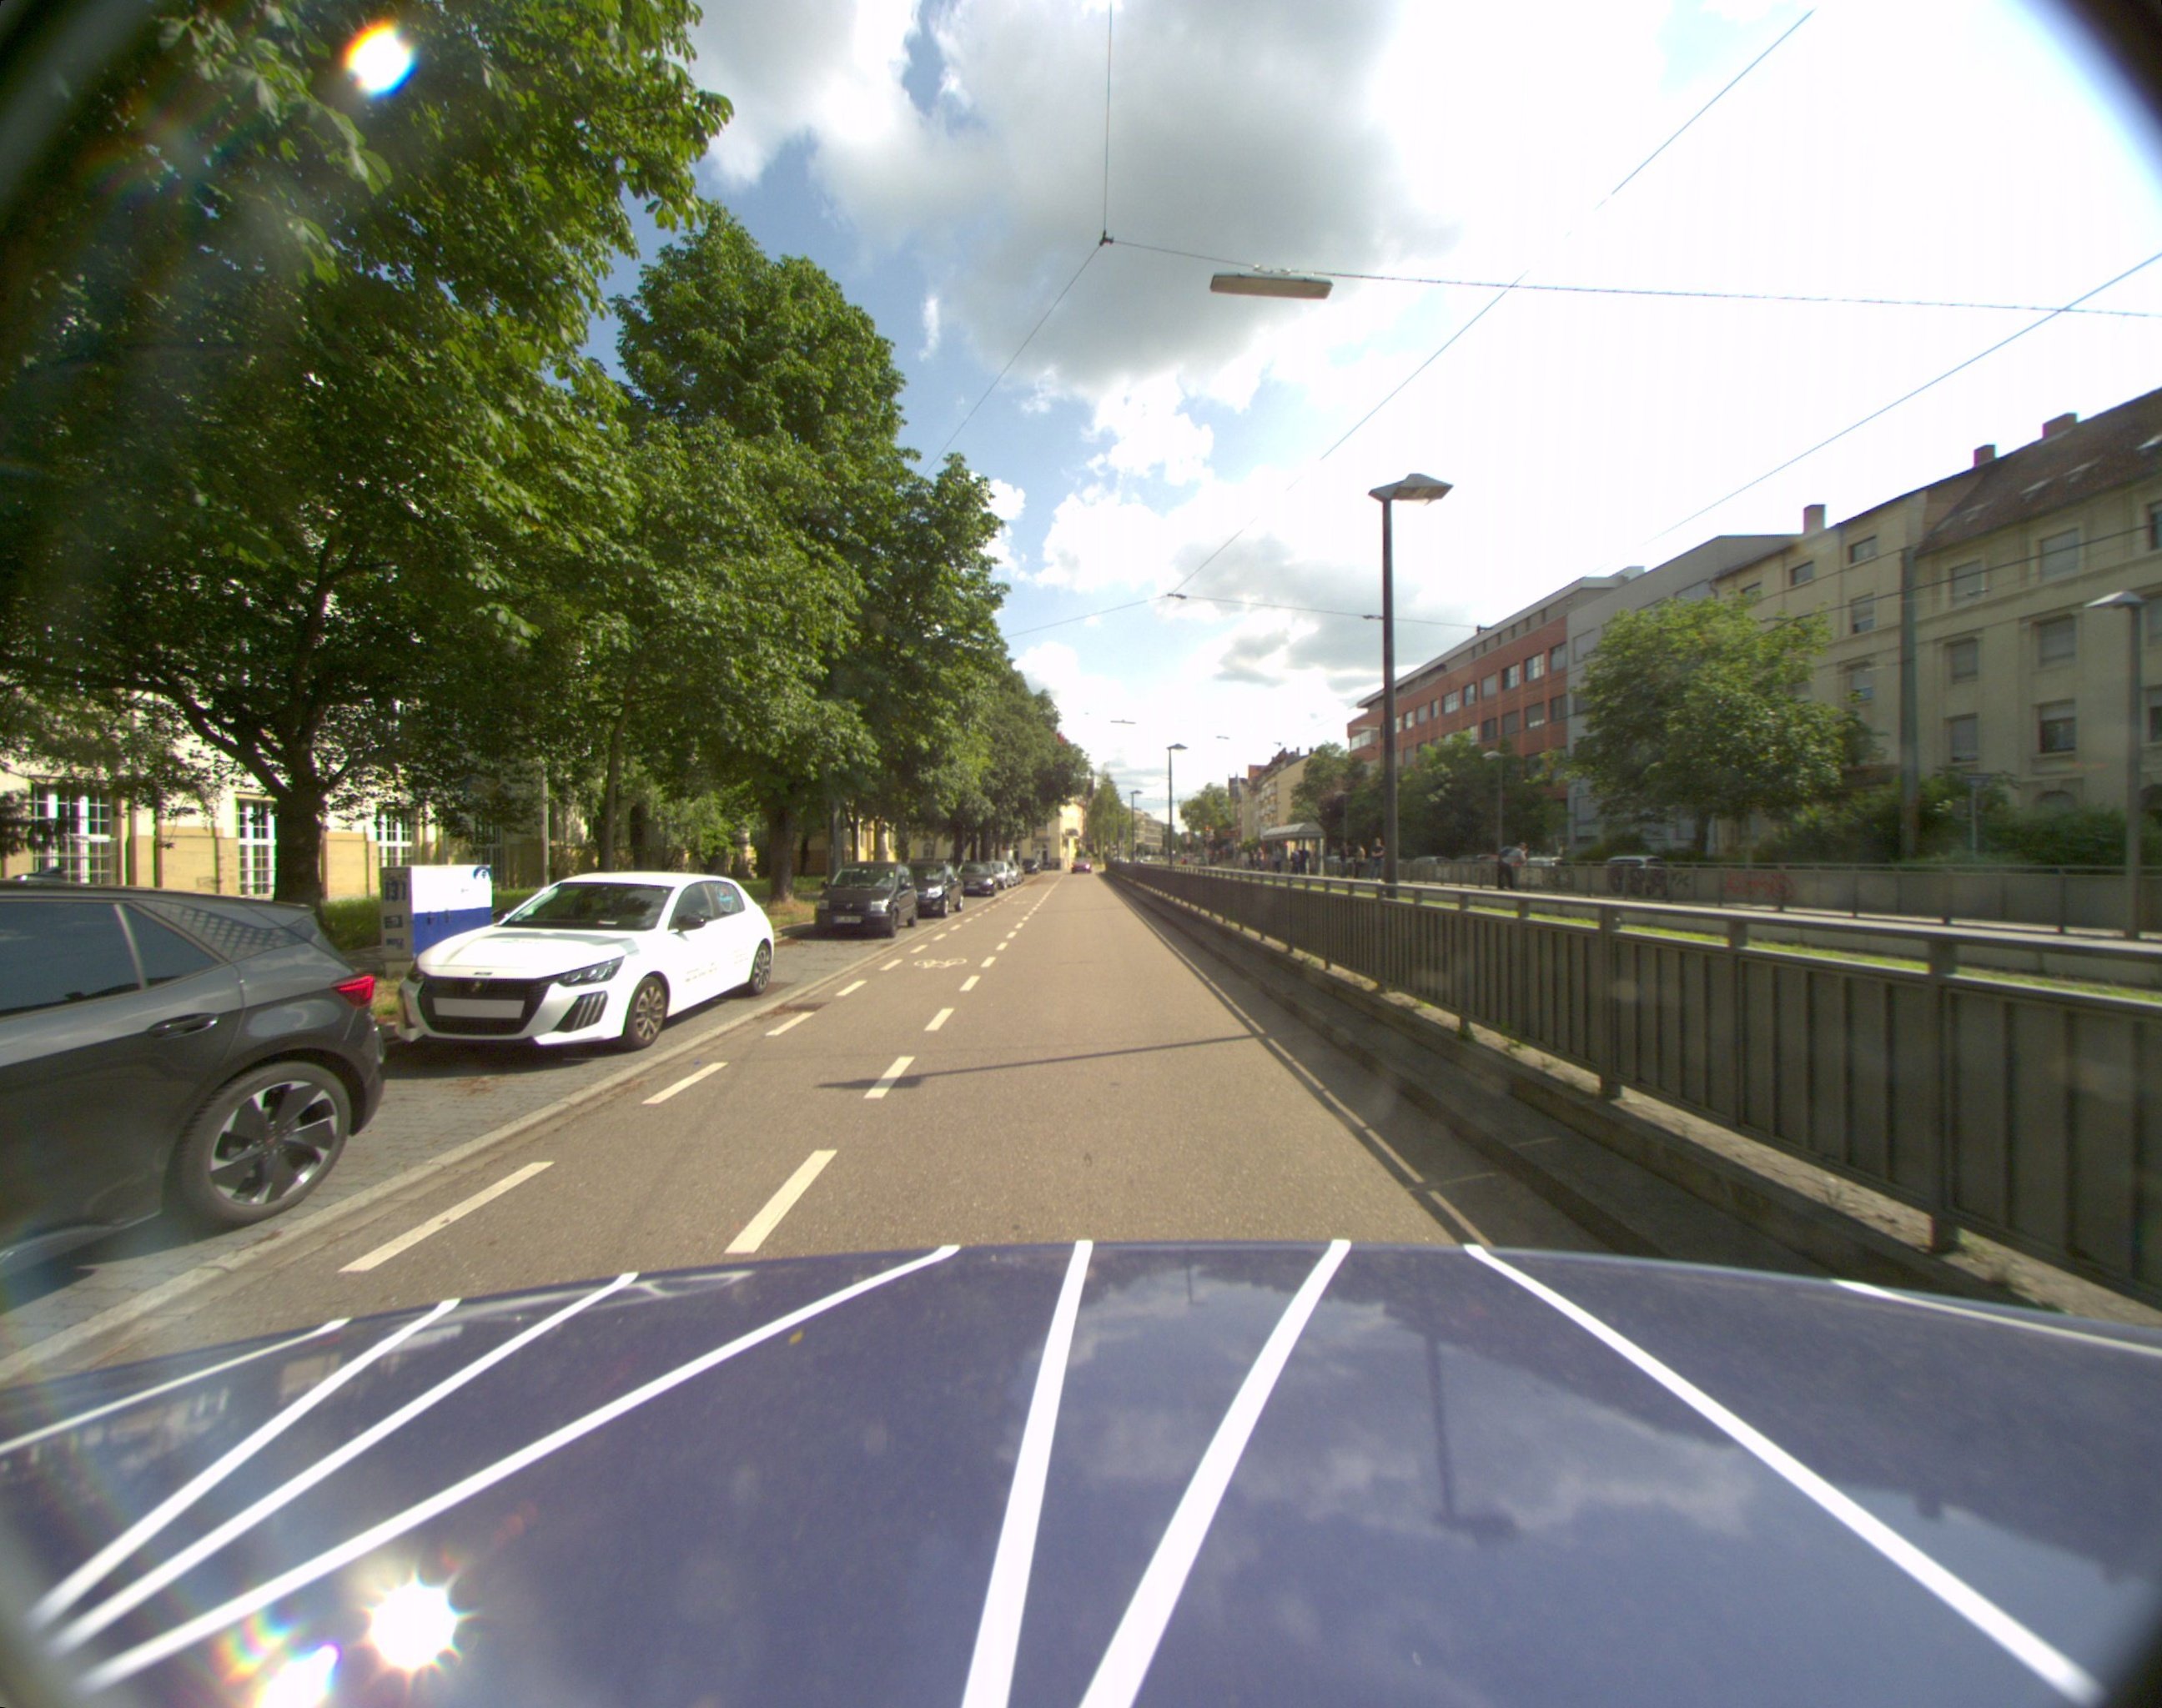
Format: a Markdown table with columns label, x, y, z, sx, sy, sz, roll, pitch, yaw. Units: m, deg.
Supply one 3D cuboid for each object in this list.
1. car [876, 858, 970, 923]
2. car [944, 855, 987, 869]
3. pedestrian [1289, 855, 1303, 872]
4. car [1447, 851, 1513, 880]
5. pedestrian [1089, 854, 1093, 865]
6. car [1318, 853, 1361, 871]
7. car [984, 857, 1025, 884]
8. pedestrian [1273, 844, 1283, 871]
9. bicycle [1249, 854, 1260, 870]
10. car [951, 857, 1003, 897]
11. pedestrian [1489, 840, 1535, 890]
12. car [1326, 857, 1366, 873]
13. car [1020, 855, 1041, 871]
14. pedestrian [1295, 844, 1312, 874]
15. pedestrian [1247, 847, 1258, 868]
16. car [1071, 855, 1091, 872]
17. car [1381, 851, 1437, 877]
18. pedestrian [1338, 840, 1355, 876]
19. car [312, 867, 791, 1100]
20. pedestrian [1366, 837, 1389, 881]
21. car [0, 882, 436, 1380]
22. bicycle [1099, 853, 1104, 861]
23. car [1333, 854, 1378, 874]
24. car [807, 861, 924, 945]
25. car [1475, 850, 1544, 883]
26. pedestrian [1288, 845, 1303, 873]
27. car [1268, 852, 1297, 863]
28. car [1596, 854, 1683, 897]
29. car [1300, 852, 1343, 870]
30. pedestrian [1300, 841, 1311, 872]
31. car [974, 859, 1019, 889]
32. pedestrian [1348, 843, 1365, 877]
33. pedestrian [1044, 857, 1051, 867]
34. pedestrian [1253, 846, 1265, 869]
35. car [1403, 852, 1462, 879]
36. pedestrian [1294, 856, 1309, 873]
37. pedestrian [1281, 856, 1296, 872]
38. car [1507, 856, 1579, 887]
| label | x | y | z | sx | sy | sz | roll | pitch | yaw |
| --- | --- | --- | --- | --- | --- | --- | --- | --- | --- |
| car | -4.315 | 0.931 | 21.401 | 1.695 | 1.552 | 4.307 | 2 | 0 | 0 |
| car | -14.167 | 0.957 | 93.064 | 4.828 | 1.646 | 1.858 | -1 | 2 | 10 |
| pedestrian | 13.553 | 0.608 | 47.834 | 0.655 | 1.026 | 0.562 | 1 | 7 | -3 |
| car | 22.666 | 0.621 | 43.115 | 4.007 | 1.559 | 1.605 | -1 | 0 | -34 |
| pedestrian | 1.521 | 0.790 | 115.647 | 0.593 | 1.622 | 0.538 | 2 | 1 | 2 |
| car | 22.945 | 0.693 | 67.418 | 4.008 | 1.487 | 1.646 | -1 | 0 | -37 |
| car | -4.392 | 0.913 | 44.151 | 1.833 | 1.433 | 5.049 | 3 | 0 | 0 |
| pedestrian | 12.902 | 0.239 | 49.776 | 0.487 | 1.716 | 0.623 | -1 | 1 | -1 |
| bicycle | 12.894 | 0.589 | 56.549 | 0.663 | 1.107 | 1.878 | 1 | 1 | 8 |
| car | -4.429 | 0.948 | 32.998 | 1.836 | 1.458 | 4.828 | 2 | 1 | -4 |
| pedestrian | 13.761 | 0.356 | 24.299 | 0.991 | 1.569 | 0.798 | 0 | 1 | -3 |
| car | 22.265 | 0.892 | 63.817 | 3.258 | 1.296 | 1.599 | -1 | 0 | -35 |
| car | -4.726 | 0.821 | 71.393 | 1.689 | 1.379 | 3.923 | 1 | 1 | 0 |
| pedestrian | 12.996 | 0.287 | 44.415 | 0.634 | 1.733 | 1.036 | 0 | 1 | -3 |
| pedestrian | 13.858 | 0.271 | 61.391 | 0.667 | 1.689 | 0.798 | 0 | 1 | -3 |
| car | -0.012 | 0.861 | 71.626 | 1.791 | 1.499 | 3.999 | -2 | 0 | 0 |
| car | 22.364 | 0.681 | 51.801 | 4.007 | 1.520 | 1.668 | -3 | 0 | -36 |
| pedestrian | 13.097 | 0.201 | 37.546 | 0.607 | 1.744 | 0.626 | 1 | 2 | 40 |
| car | -4.523 | 0.960 | 7.466 | 1.840 | 1.514 | 4.252 | 2 | 0 | -3 |
| pedestrian | 12.942 | 0.205 | 33.204 | 0.752 | 1.881 | 0.638 | -1 | 3 | 2 |
| car | -4.456 | 0.954 | 1.867 | 1.729 | 1.574 | 4.677 | 1 | 0 | 0 |
| bicycle | 3.597 | 0.527 | 134.042 | 0.772 | 1.096 | 2.573 | -1 | -5 | 0 |
| car | 21.922 | 0.762 | 60.740 | 3.317 | 1.412 | 1.581 | -3 | 1 | -30 |
| car | -4.454 | 0.948 | 16.205 | 1.560 | 1.452 | 3.557 | 3 | 1 | -3 |
| car | 22.713 | 0.635 | 40.221 | 4.144 | 1.630 | 1.829 | -1 | 1 | -39 |
| pedestrian | 12.429 | 0.298 | 44.028 | 0.599 | 1.623 | 0.558 | 0 | 0 | -14 |
| car | 27.621 | 0.470 | 104.319 | 3.608 | 1.470 | 1.777 | -1 | -3 | 7 |
| car | 22.483 | 0.812 | 30.550 | 4.161 | 1.556 | 1.921 | -1 | 1 | -41 |
| car | 22.058 | 0.621 | 69.609 | 3.850 | 1.649 | 1.870 | -1 | 0 | -39 |
| pedestrian | 13.473 | 0.140 | 45.577 | 0.444 | 1.816 | 0.623 | 0 | 1 | -3 |
| car | -4.269 | 0.990 | 38.943 | 1.639 | 1.423 | 4.015 | 2 | 0 | 2 |
| pedestrian | 13.702 | 0.280 | 37.833 | 0.608 | 1.665 | 0.625 | -1 | 1 | 0 |
| pedestrian | -4.144 | 0.996 | 95.079 | 0.804 | 1.238 | 0.892 | -1 | 2 | 2 |
| pedestrian | 13.223 | 0.268 | 56.366 | 0.640 | 1.714 | 0.798 | 0 | 1 | -3 |
| car | 22.600 | 0.712 | 48.827 | 4.007 | 1.520 | 1.668 | -3 | 0 | -37 |
| pedestrian | 13.544 | 0.639 | 46.713 | 0.706 | 0.989 | 0.562 | 1 | 1 | -3 |
| pedestrian | 13.160 | 0.622 | 48.210 | 0.721 | 1.025 | 0.623 | 1 | 1 | -3 |
| car | 22.529 | 0.814 | 36.997 | 4.031 | 1.383 | 1.811 | -1 | -1 | -40 |
